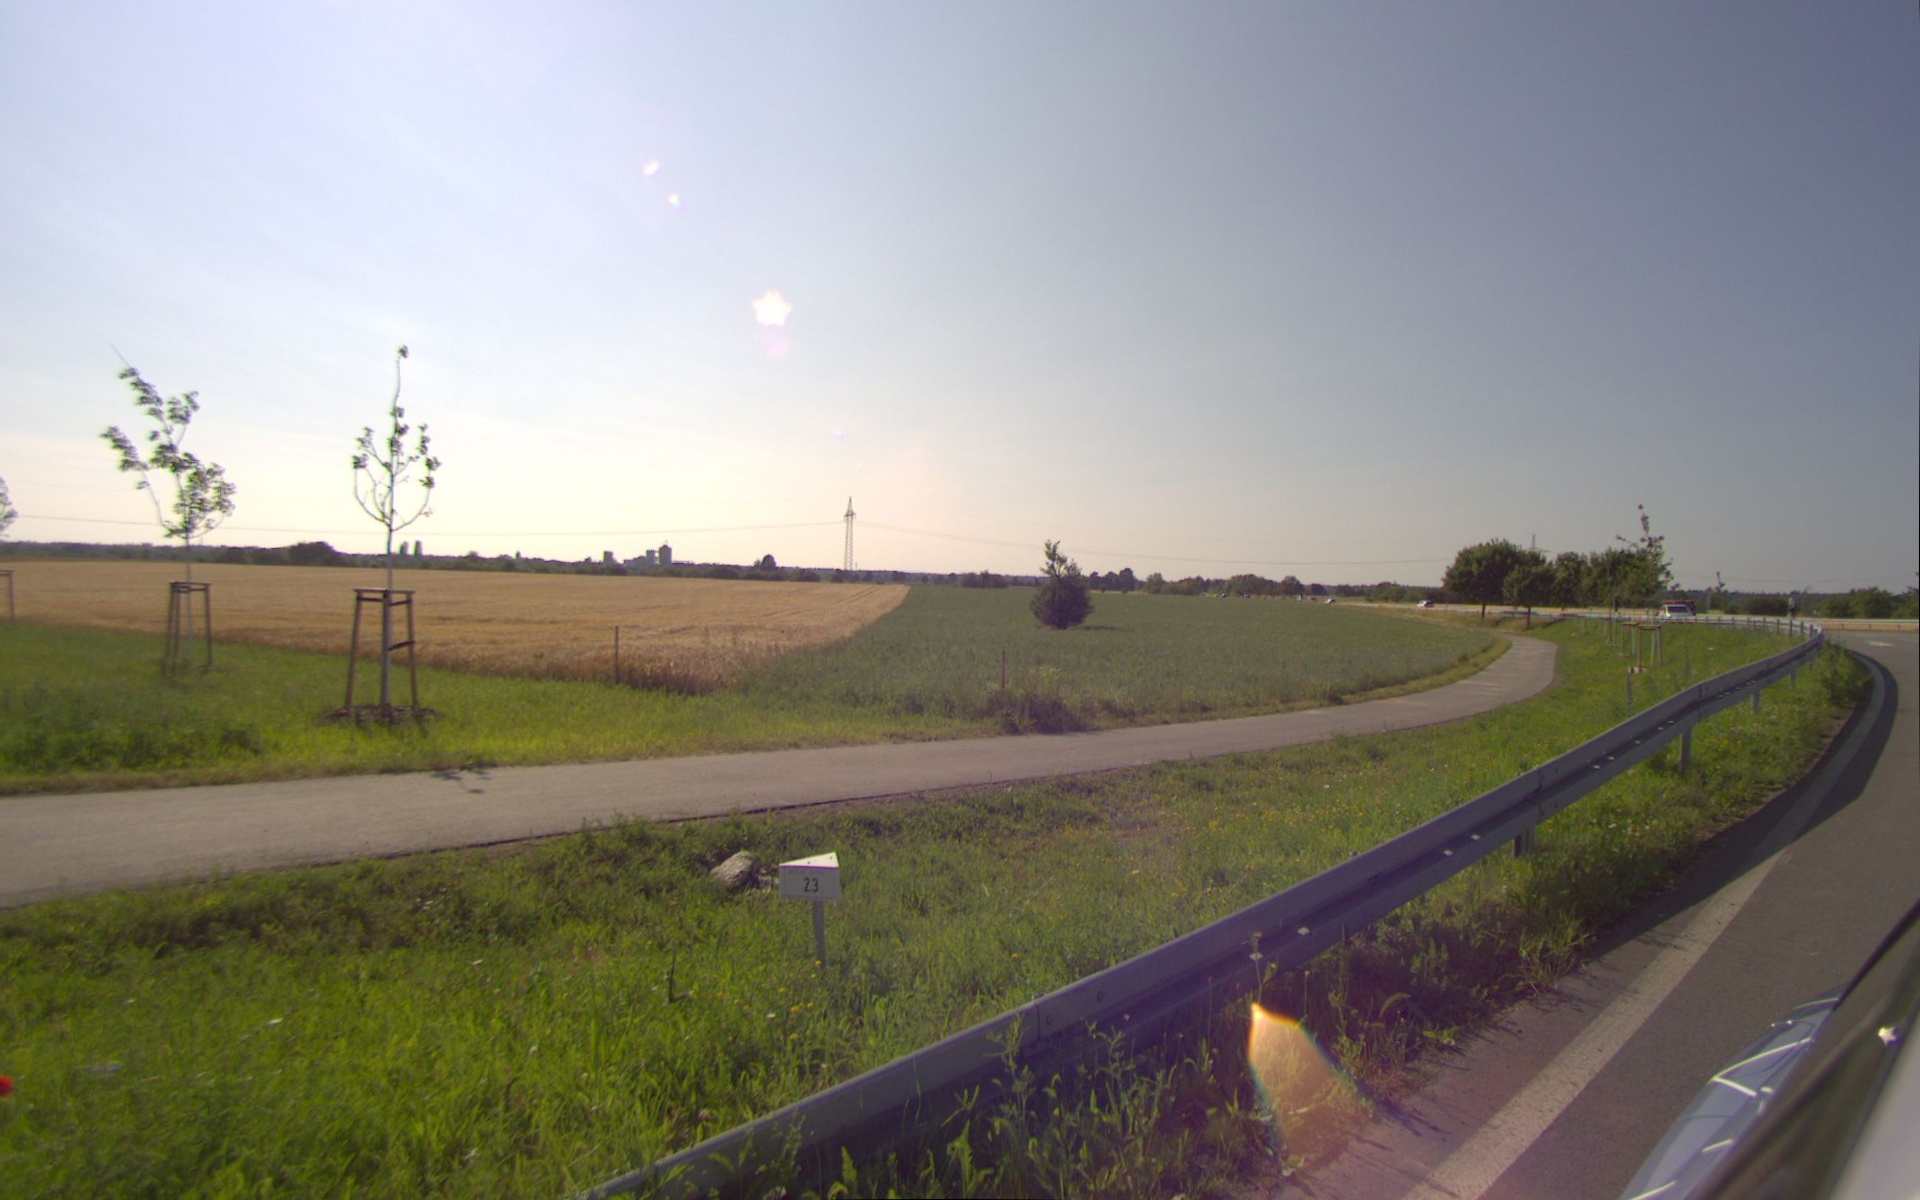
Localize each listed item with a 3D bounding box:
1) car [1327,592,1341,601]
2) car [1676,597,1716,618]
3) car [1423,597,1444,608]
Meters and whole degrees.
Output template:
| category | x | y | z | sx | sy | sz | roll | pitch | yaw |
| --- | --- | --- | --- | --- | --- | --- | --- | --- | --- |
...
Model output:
| category | x | y | z | sx | sy | sz | roll | pitch | yaw |
| --- | --- | --- | --- | --- | --- | --- | --- | --- | --- |
| car | 85.328 | -0.772 | 230.880 | 1.964 | 2.039 | 3.996 | 0 | 0 | 4 |
| car | 64.399 | 0.632 | 88.662 | 1.792 | 1.694 | 3.973 | 0 | 0 | 20 |
| car | 78.319 | 0.431 | 167.518 | 1.965 | 1.779 | 3.993 | 1 | 0 | 6 |
